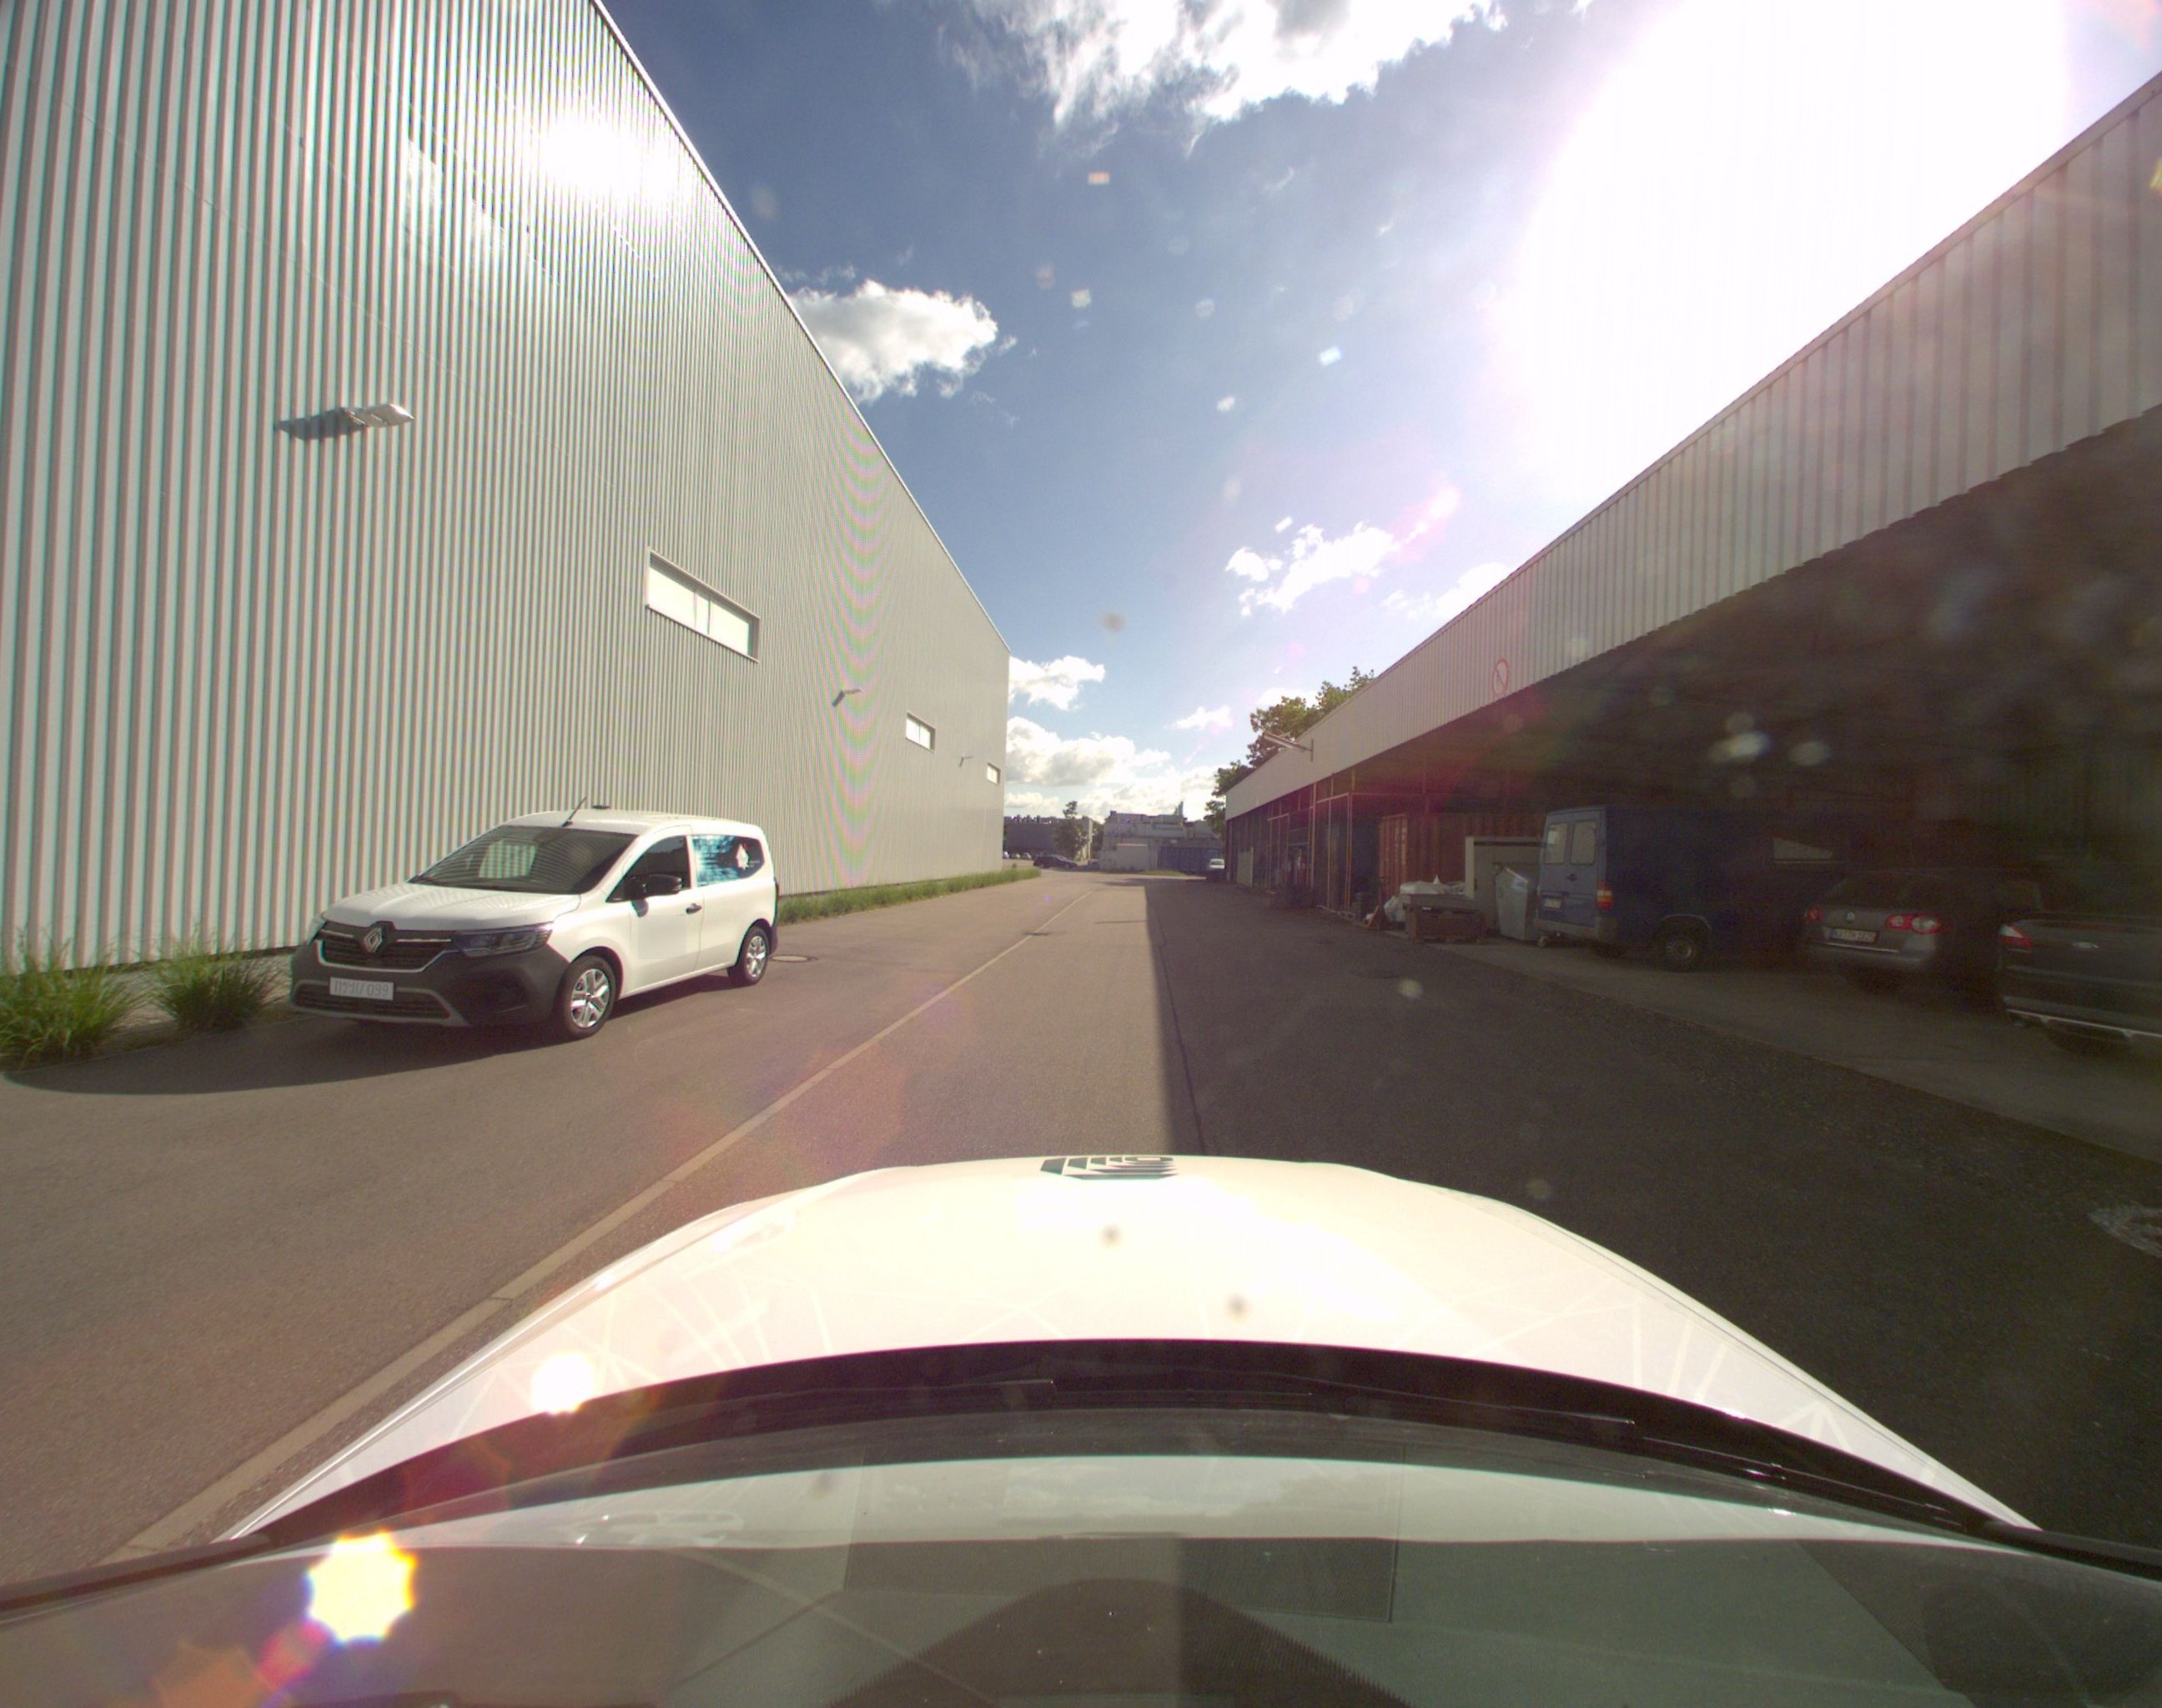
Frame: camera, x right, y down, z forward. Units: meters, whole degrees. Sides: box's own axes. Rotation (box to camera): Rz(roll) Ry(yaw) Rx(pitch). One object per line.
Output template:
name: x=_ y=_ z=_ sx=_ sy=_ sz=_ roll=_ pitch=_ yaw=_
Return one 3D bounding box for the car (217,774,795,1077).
car: x=-4.502 y=0.462 z=7.452 sx=1.882 sy=1.845 sz=4.362 roll=4 pitch=0 yaw=3

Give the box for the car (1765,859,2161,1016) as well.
car: x=10.101 y=0.820 z=8.751 sx=3.971 sy=1.472 sz=1.789 roll=1 pitch=0 yaw=2

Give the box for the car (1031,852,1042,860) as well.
car: x=-10.188 y=0.458 z=185.845 sx=2.184 sy=1.736 sz=4.003 roll=0 pitch=-1 yaw=3

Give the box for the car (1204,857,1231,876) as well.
car: x=12.724 y=1.161 z=76.072 sx=1.985 sy=1.585 sz=4.177 roll=1 pitch=1 yaw=3

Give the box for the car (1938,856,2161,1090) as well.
car: x=9.074 y=0.790 z=5.676 sx=4.313 sy=1.496 sz=1.778 roll=1 pitch=0 yaw=1

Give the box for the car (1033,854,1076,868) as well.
car: x=-2.916 y=0.737 z=89.756 sx=4.504 sy=1.508 sz=1.912 roll=1 pitch=0 yaw=5

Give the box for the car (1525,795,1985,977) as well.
car: x=9.525 y=0.414 z=11.901 sx=4.956 sy=2.325 sz=2.002 roll=1 pitch=0 yaw=4

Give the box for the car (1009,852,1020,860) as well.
car: x=-15.204 y=0.549 z=187.500 sx=1.985 sy=1.736 sz=4.003 roll=0 pitch=-1 yaw=3

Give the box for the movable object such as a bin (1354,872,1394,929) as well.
movable object such as a bin: x=6.371 y=0.987 z=17.770 sx=0.578 sy=1.164 sz=1.241 roll=1 pitch=0 yaw=8

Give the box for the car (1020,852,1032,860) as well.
car: x=-12.609 y=0.513 z=187.697 sx=2.184 sy=1.736 sz=4.003 roll=0 pitch=-1 yaw=3

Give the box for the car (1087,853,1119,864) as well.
car: x=3.171 y=0.682 z=117.081 sx=4.505 sy=1.508 sz=1.911 roll=1 pitch=0 yaw=4

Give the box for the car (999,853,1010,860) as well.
car: x=-17.662 y=0.559 z=187.992 sx=1.985 sy=1.736 sz=4.003 roll=0 pitch=-1 yaw=3

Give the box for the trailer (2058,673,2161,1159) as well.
trailer: x=7.620 y=0.329 z=3.251 sx=4.785 sy=2.391 sz=1.831 roll=1 pitch=0 yaw=8

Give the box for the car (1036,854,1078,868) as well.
car: x=-2.719 y=0.770 z=92.990 sx=4.504 sy=1.508 sz=1.912 roll=1 pitch=0 yaw=5
